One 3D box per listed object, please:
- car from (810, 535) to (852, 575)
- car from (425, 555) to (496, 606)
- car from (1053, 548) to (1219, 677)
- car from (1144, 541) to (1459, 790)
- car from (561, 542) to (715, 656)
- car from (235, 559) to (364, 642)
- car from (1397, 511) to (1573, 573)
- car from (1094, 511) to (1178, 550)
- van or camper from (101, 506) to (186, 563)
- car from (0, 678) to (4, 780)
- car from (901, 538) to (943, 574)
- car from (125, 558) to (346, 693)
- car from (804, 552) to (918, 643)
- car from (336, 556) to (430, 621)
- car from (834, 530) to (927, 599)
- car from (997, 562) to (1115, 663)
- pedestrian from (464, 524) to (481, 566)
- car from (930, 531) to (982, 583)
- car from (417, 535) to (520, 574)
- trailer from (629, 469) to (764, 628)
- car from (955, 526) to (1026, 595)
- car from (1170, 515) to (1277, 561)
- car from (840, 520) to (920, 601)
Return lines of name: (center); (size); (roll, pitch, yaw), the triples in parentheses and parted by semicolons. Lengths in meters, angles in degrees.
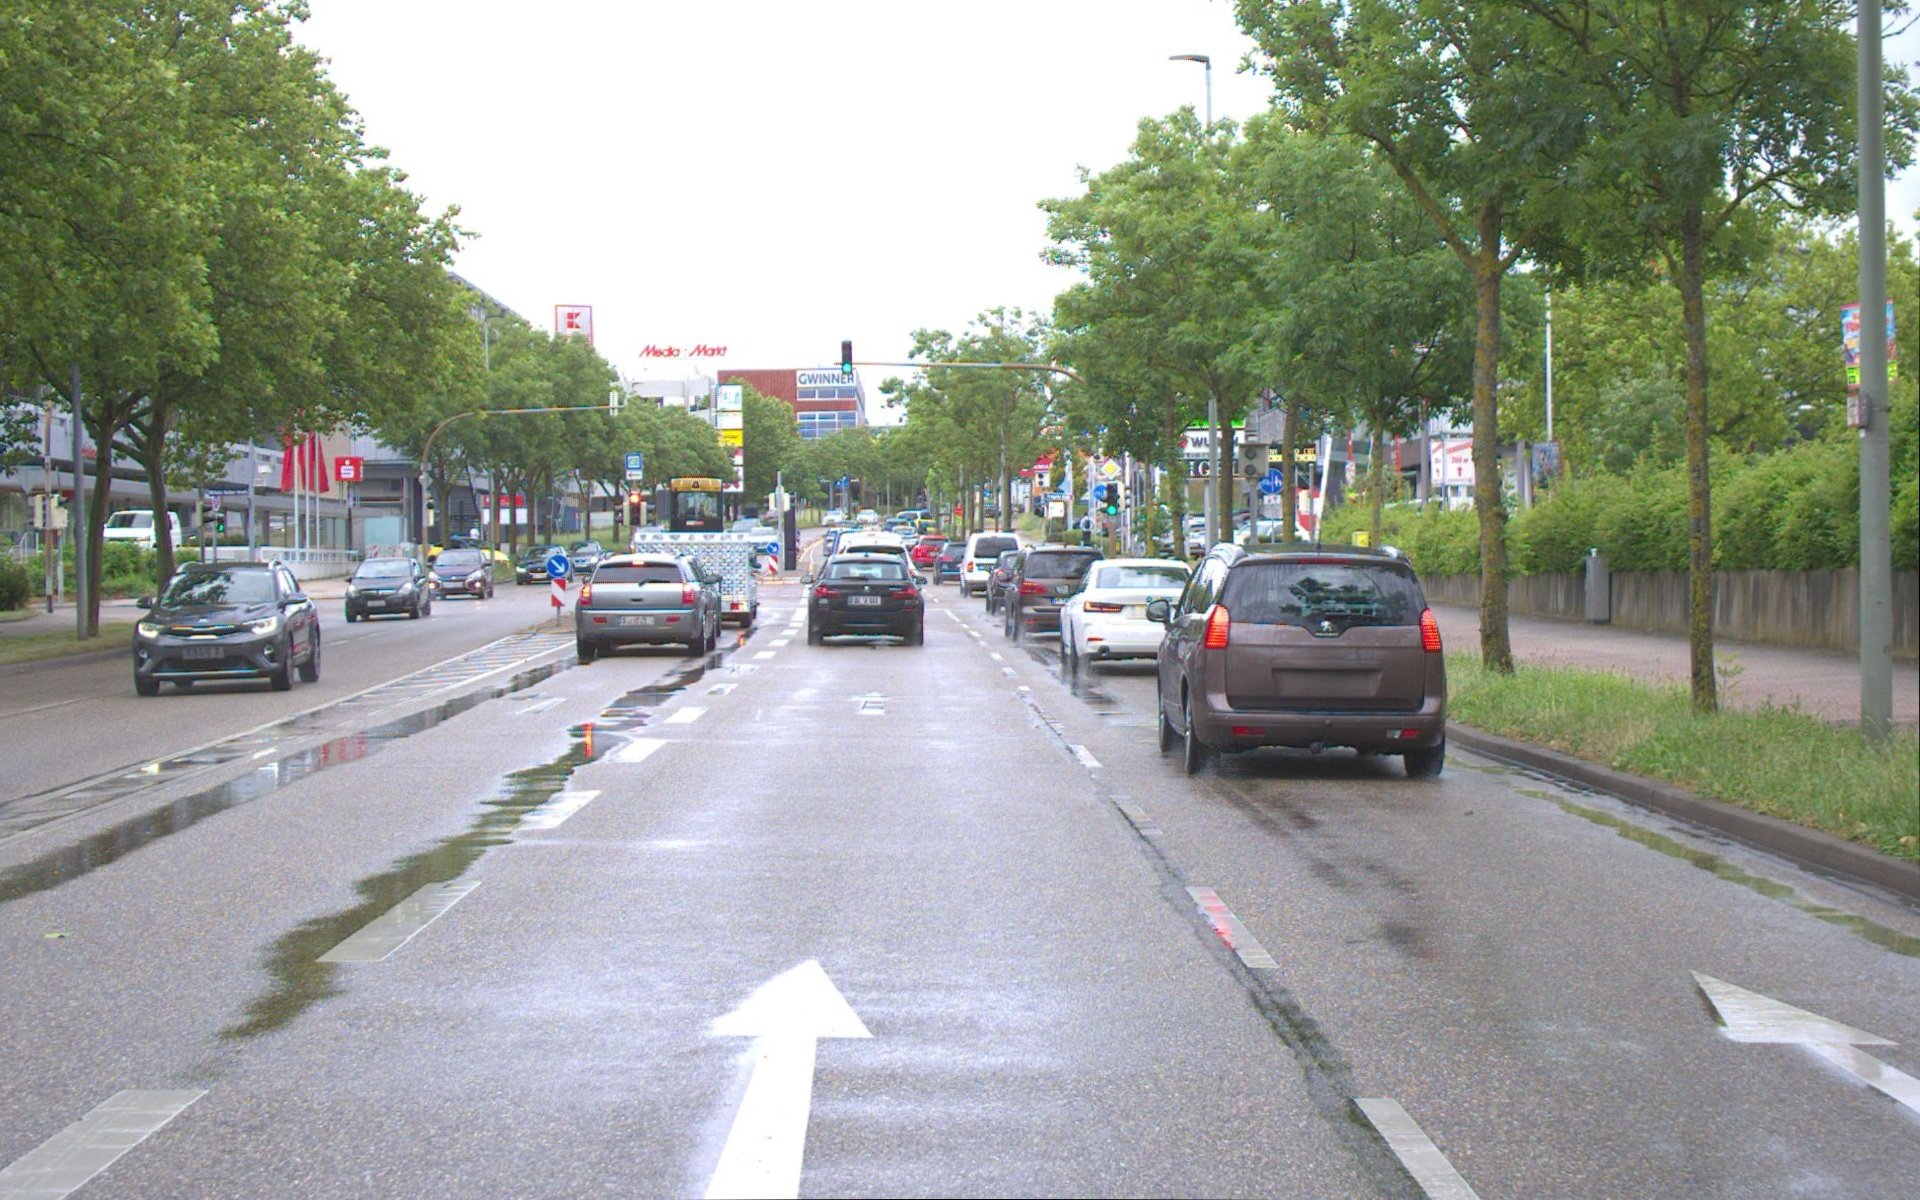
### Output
car: (-6.562, -2.287, 175.251); (1.993, 2.007, 4.000); (1, 0, -1)
car: (-14.900, -0.593, 102.690); (1.709, 1.460, 4.086); (-2, 1, -3)
car: (2.216, 0.115, 44.422); (1.801, 1.539, 4.620); (1, 1, -1)
car: (2.365, 0.397, 24.837); (1.726, 1.619, 4.471); (-1, 1, -1)
car: (-4.743, -0.052, 51.233); (1.907, 1.573, 4.881); (-1, 1, -1)
car: (-12.128, -0.012, 63.334); (1.736, 1.424, 4.538); (-2, 1, -4)
car: (12.634, -1.405, 82.938); (3.987, 1.437, 1.655); (-1, 1, 1)
car: (8.884, -3.516, 173.972); (4.111, 1.898, 1.800); (-1, 1, 0)
van or camper: (-29.248, -2.323, 123.242); (1.993, 1.960, 4.789); (1, 0, -2)
car: (-7.243, 0.493, 20.942); (1.762, 1.526, 3.858); (-2, 1, -1)
car: (-1.559, -1.801, 140.570); (1.695, 1.438, 3.989); (-1, 1, -1)
car: (-8.485, 0.258, 40.584); (1.666, 1.457, 4.181); (-2, 1, 0)
car: (-1.611, -0.063, 55.559); (1.781, 1.393, 4.000); (0, 1, -2)
car: (-13.753, -0.302, 82.147); (1.709, 1.460, 4.086); (-2, 1, -3)
car: (-1.684, -0.760, 71.685); (1.682, 1.372, 4.001); (-1, 1, -5)
car: (1.603, 0.184, 58.860); (1.801, 1.581, 4.451); (1, 1, -1)
pedestrian: (-25.722, -2.910, 181.394); (0.858, 2.210, 0.846); (0, 1, -4)
car: (-0.150, -1.440, 115.503); (1.685, 1.678, 3.403); (1, 0, -1)
car: (-20.726, -1.931, 145.016); (3.994, 1.546, 1.896); (0, 2, 33)
trailer: (-5.013, -0.993, 66.227); (2.372, 2.887, 5.546); (-1, 1, -3)
car: (0.840, -1.132, 96.560); (1.781, 1.860, 4.000); (-1, 1, -2)
car: (10.638, -2.504, 138.760); (4.016, 1.657, 1.982); (-4, 3, -41)
car: (-2.086, -1.006, 89.175); (1.993, 2.007, 4.000); (1, 0, -1)
